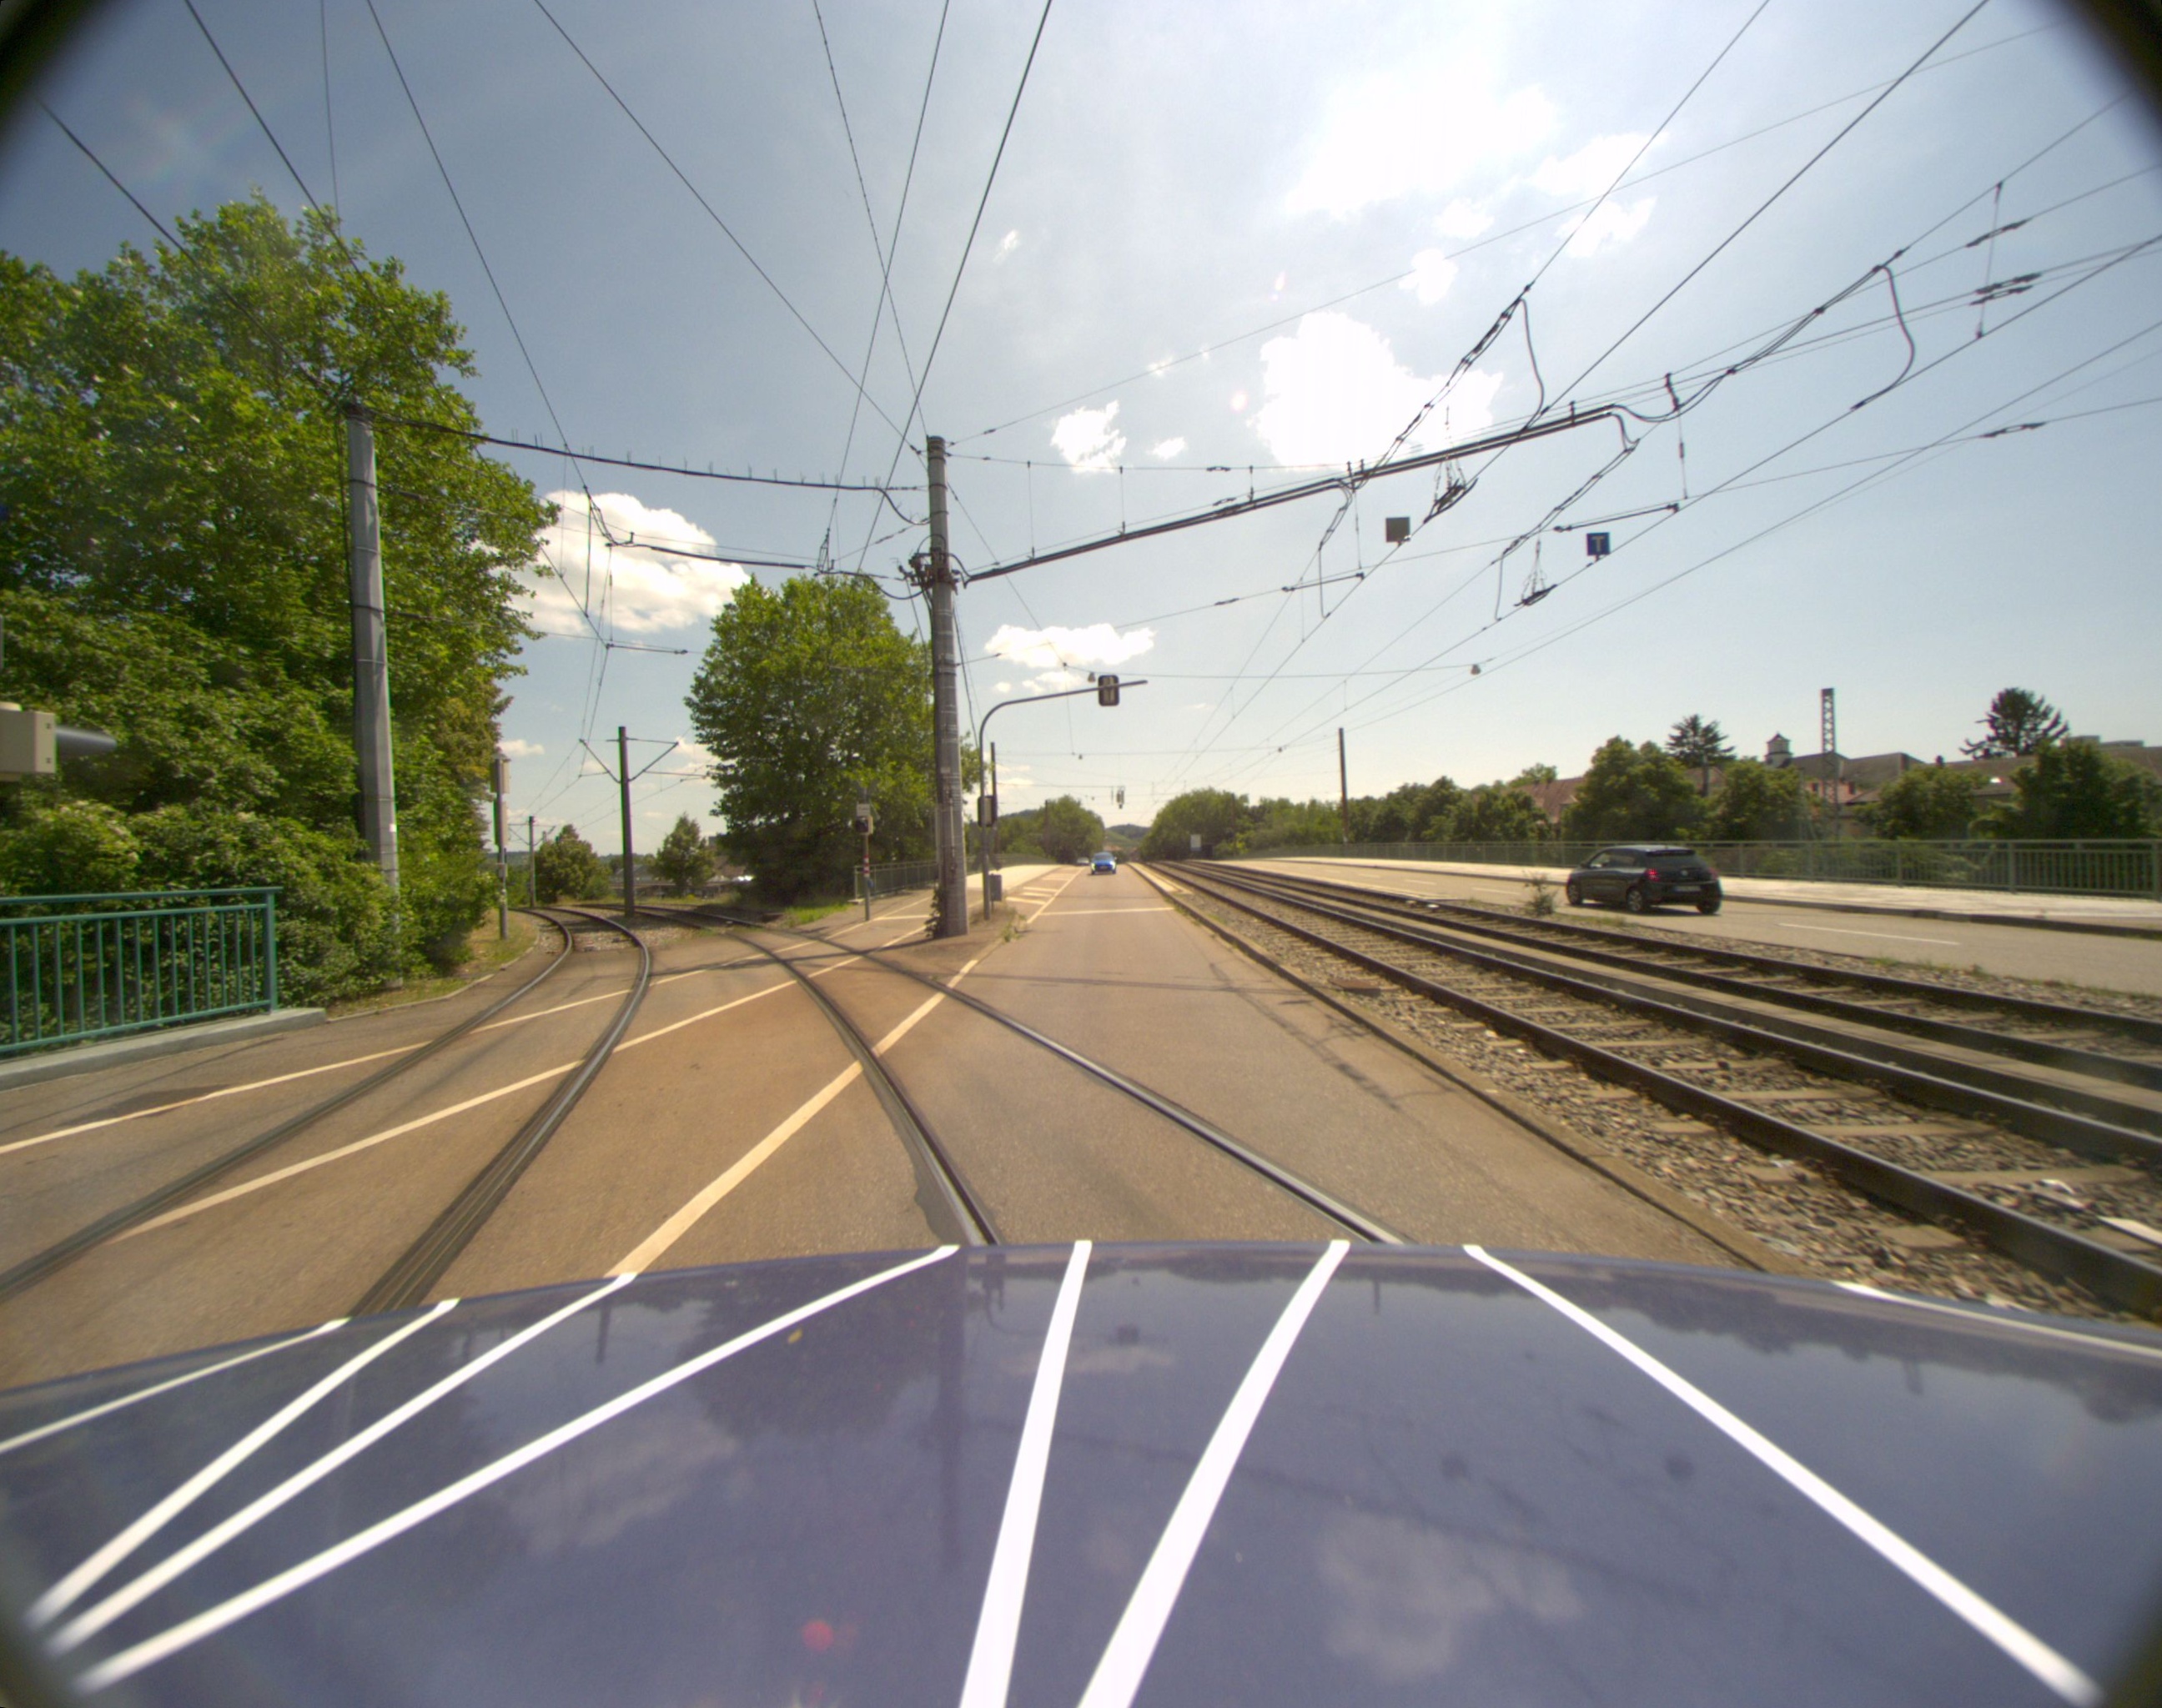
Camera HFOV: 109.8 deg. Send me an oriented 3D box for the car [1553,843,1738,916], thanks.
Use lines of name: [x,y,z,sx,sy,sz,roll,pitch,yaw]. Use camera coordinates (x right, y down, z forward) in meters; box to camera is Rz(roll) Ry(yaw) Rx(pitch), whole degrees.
car: [13.163,0.529,18.028,1.709,1.501,3.733,-2,1,3]

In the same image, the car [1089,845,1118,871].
car: [1.587,0.324,53.544,1.864,1.630,4.001,-3,-1,2]

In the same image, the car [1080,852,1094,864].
car: [0.875,0.587,109.122,1.998,1.542,4.723,-4,-2,1]
